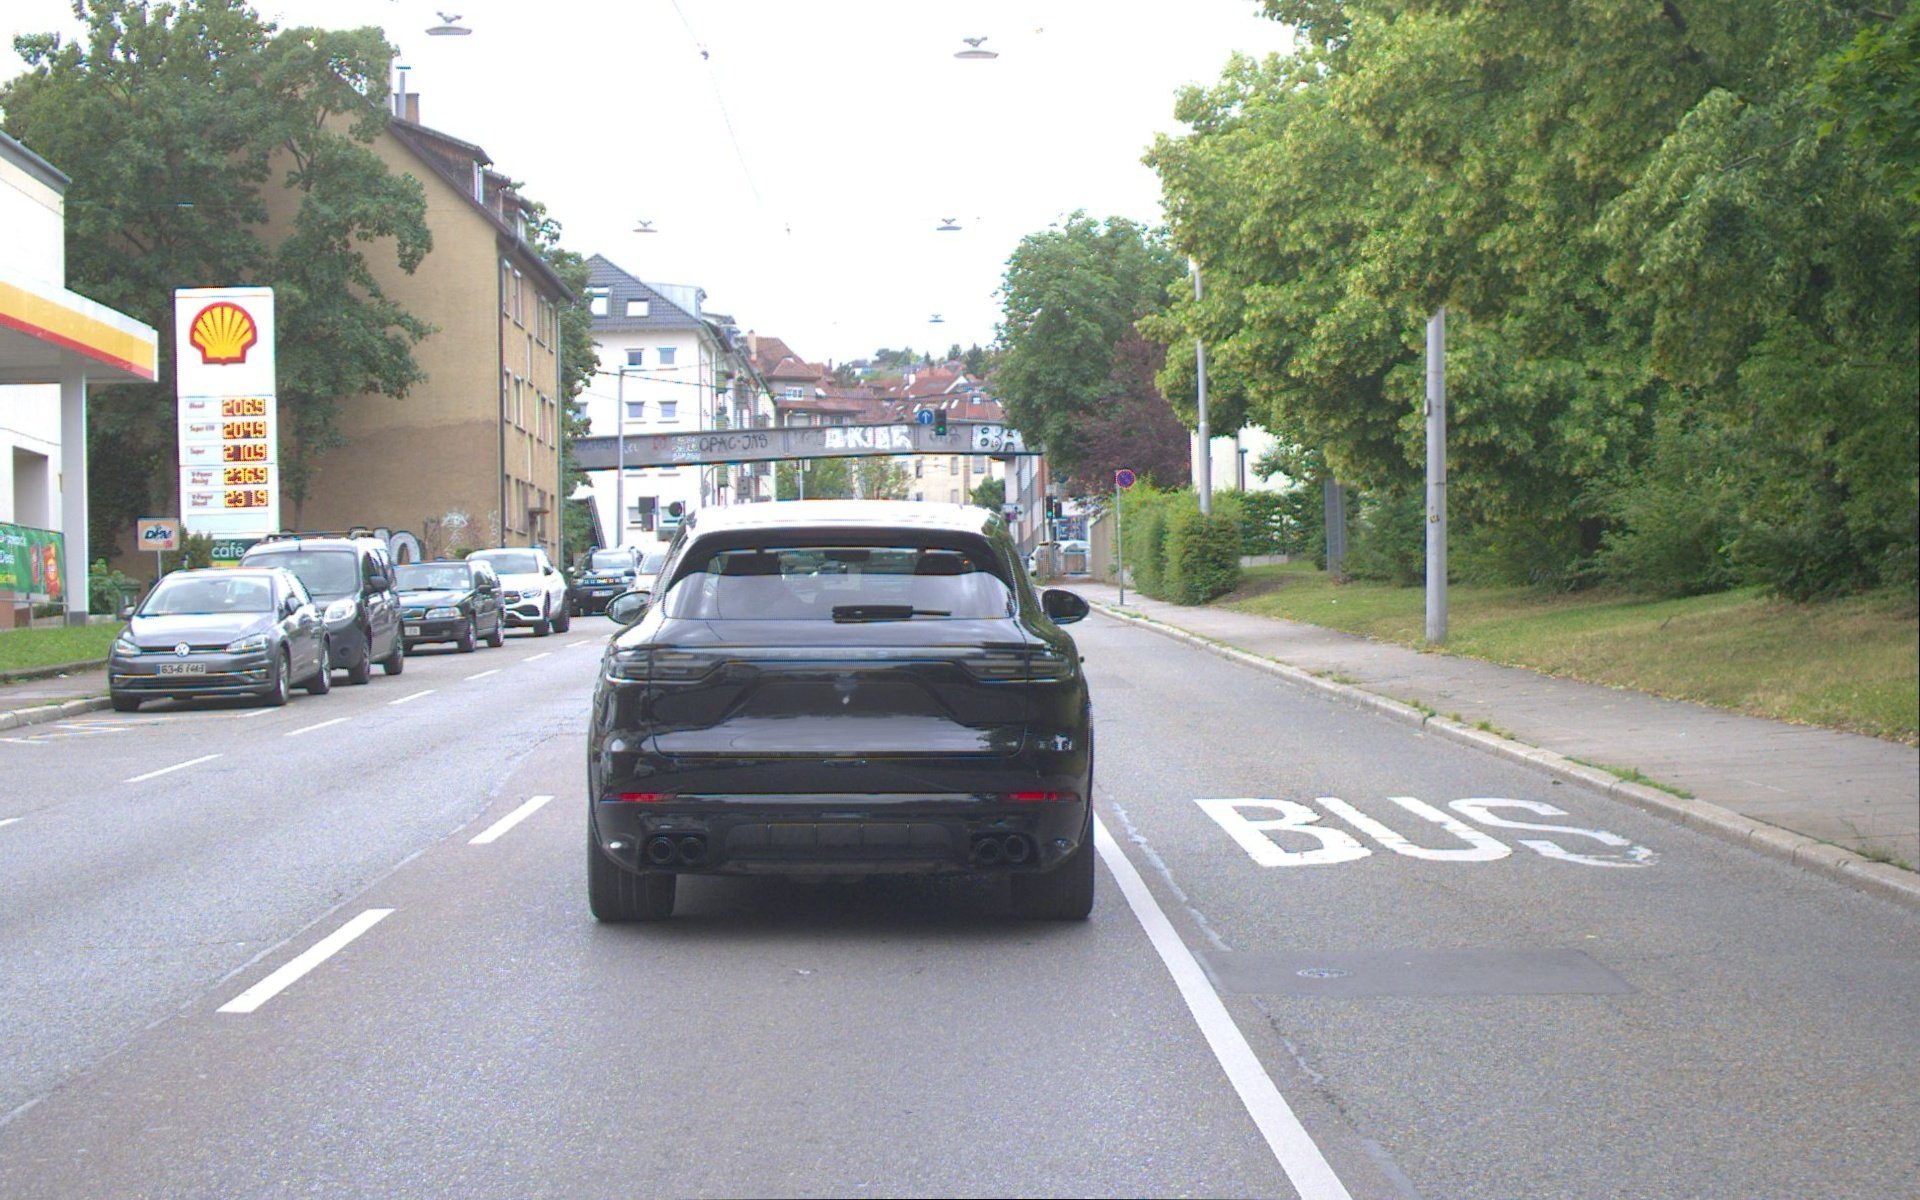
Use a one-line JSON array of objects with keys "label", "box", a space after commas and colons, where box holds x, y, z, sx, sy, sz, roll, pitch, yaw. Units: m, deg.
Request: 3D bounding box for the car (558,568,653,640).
[{"label": "car", "box": [-8.723, 0.081, 84.893, 1.783, 1.603, 4.264, -3, 1, 1]}]

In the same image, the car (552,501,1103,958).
[{"label": "car", "box": [-0.494, 0.421, 14.539, 1.993, 1.656, 4.000, 0, 1, 0]}]

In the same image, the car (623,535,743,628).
[{"label": "car", "box": [-4.879, -0.348, 60.906, 1.797, 1.520, 4.000, -2, 1, -1]}]

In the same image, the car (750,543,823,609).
[{"label": "car", "box": [-4.307, -0.608, 85.634, 1.683, 1.550, 3.719, -2, 1, -2]}]

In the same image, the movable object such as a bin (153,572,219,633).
[{"label": "movable object such as a bin", "box": [-18.566, 0.055, 82.477, 1.392, 1.423, 0.913, 0, 1, -3]}]

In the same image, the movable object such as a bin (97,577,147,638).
[{"label": "movable object such as a bin", "box": [-20.045, 0.165, 82.240, 0.910, 1.423, 1.397, 0, 1, -3]}]

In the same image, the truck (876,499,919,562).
[{"label": "truck", "box": [-3.502, -3.862, 193.363, 2.266, 3.412, 9.879, -1, 1, -1]}]

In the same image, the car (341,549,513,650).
[{"label": "car", "box": [-8.280, -0.038, 53.767, 1.798, 1.426, 4.743, -2, 1, 2]}]

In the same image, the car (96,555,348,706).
[{"label": "car", "box": [-7.833, 0.282, 36.851, 1.790, 1.445, 4.218, -2, 1, -1]}]

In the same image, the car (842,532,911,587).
[{"label": "car", "box": [-2.202, -1.099, 91.370, 1.741, 1.395, 4.000, 0, 1, 0]}]

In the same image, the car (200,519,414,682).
[{"label": "car", "box": [-7.970, -0.028, 42.366, 1.851, 1.829, 4.702, -2, 1, -2]}]

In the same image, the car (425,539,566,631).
[{"label": "car", "box": [-8.478, -0.303, 63.108, 1.915, 1.572, 4.700, -2, 1, 0]}]
